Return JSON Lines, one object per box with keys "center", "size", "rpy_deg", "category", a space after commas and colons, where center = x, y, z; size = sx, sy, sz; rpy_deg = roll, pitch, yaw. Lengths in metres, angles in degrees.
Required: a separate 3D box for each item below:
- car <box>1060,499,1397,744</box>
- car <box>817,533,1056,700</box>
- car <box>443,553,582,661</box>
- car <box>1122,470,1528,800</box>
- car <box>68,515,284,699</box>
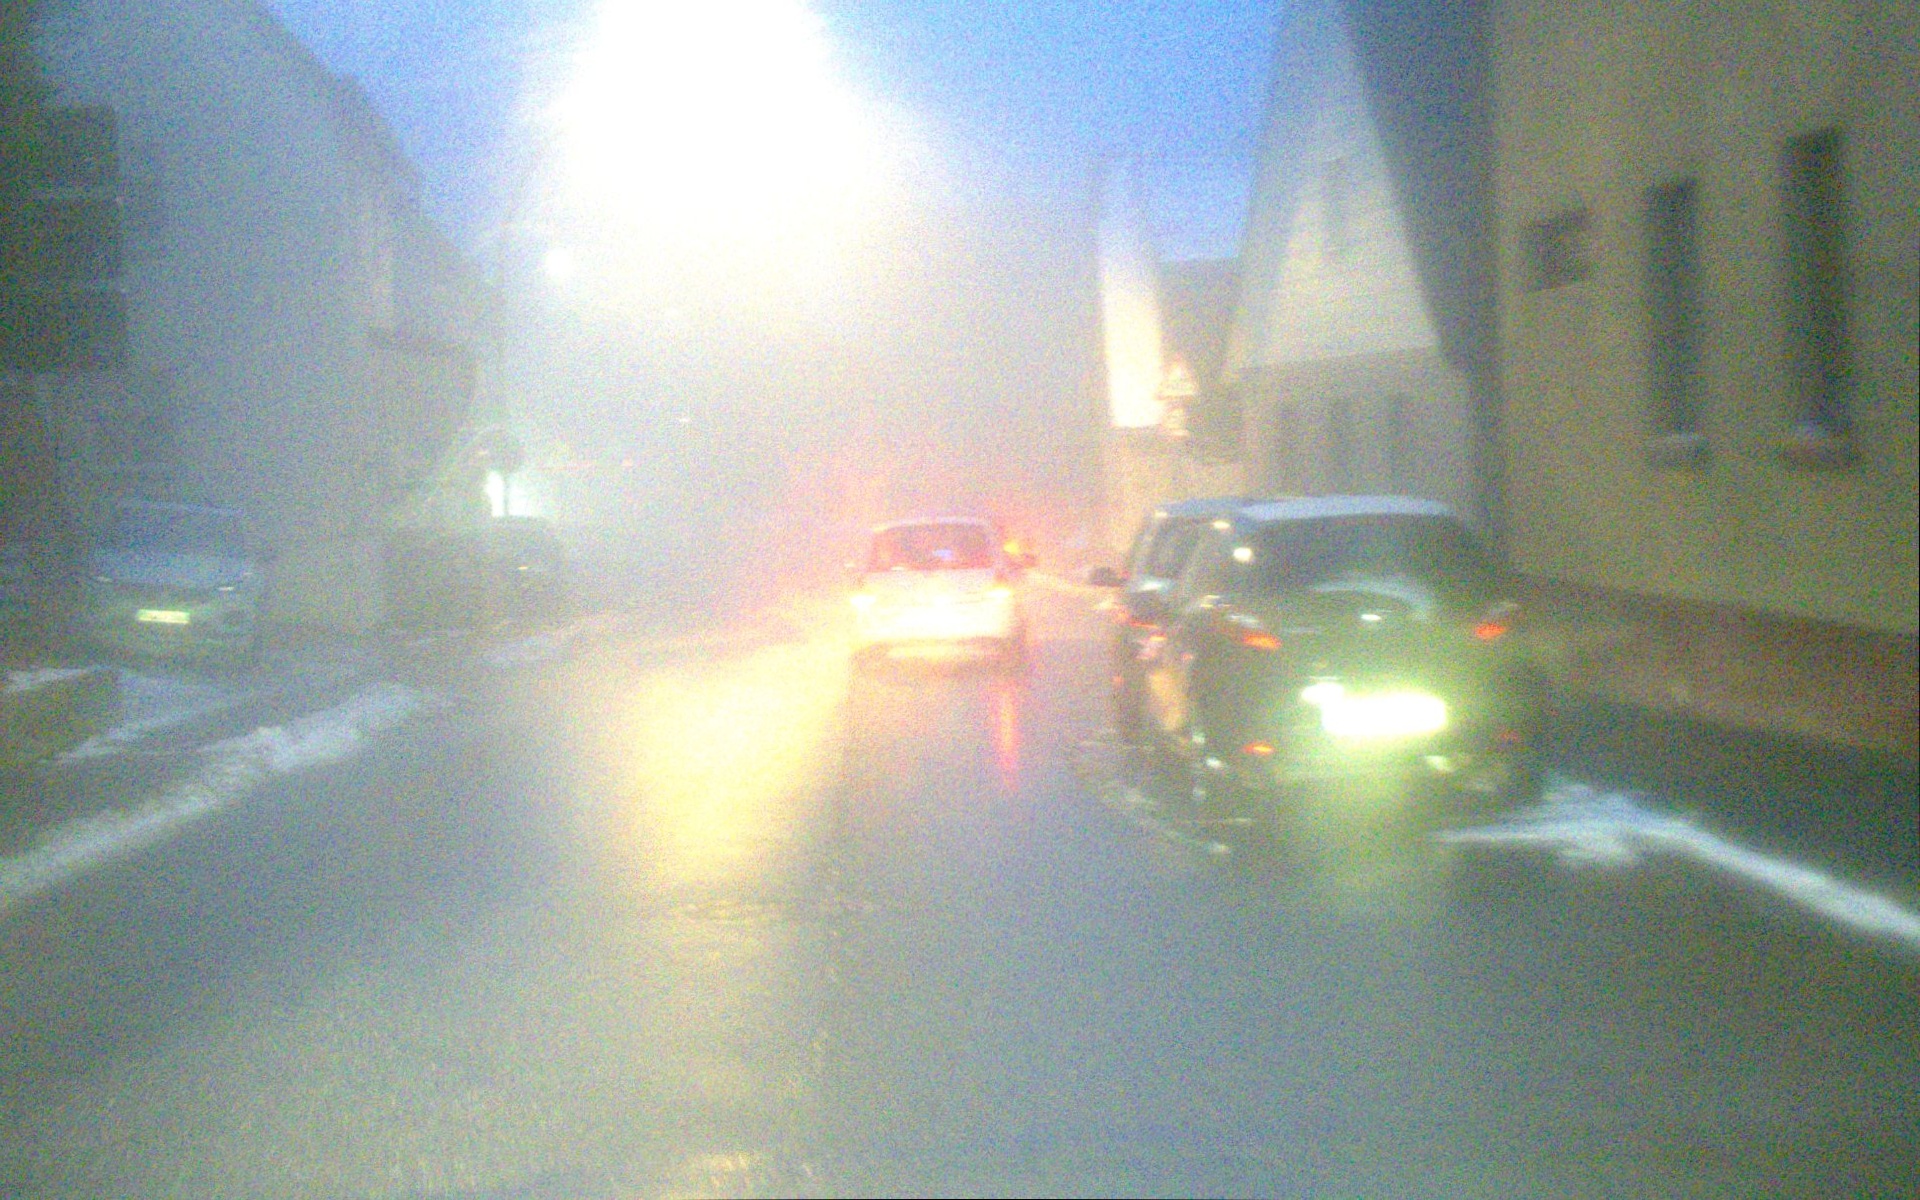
{"center": [1.694, 0.091, 23.016], "size": [1.910, 1.476, 4.282], "rpy_deg": [0, 1, 0], "category": "car"}
{"center": [-0.163, 0.157, 33.430], "size": [1.994, 1.503, 3.999], "rpy_deg": [0, 0, 4], "category": "car"}
{"center": [-6.968, 0.080, 53.909], "size": [1.993, 1.517, 4.192], "rpy_deg": [0, 2, -5], "category": "car"}
{"center": [1.757, 0.096, 17.650], "size": [1.716, 1.494, 3.907], "rpy_deg": [0, 2, 1], "category": "car"}
{"center": [-8.157, 0.059, 36.111], "size": [1.764, 1.730, 4.640], "rpy_deg": [3, 0, -8], "category": "car"}
